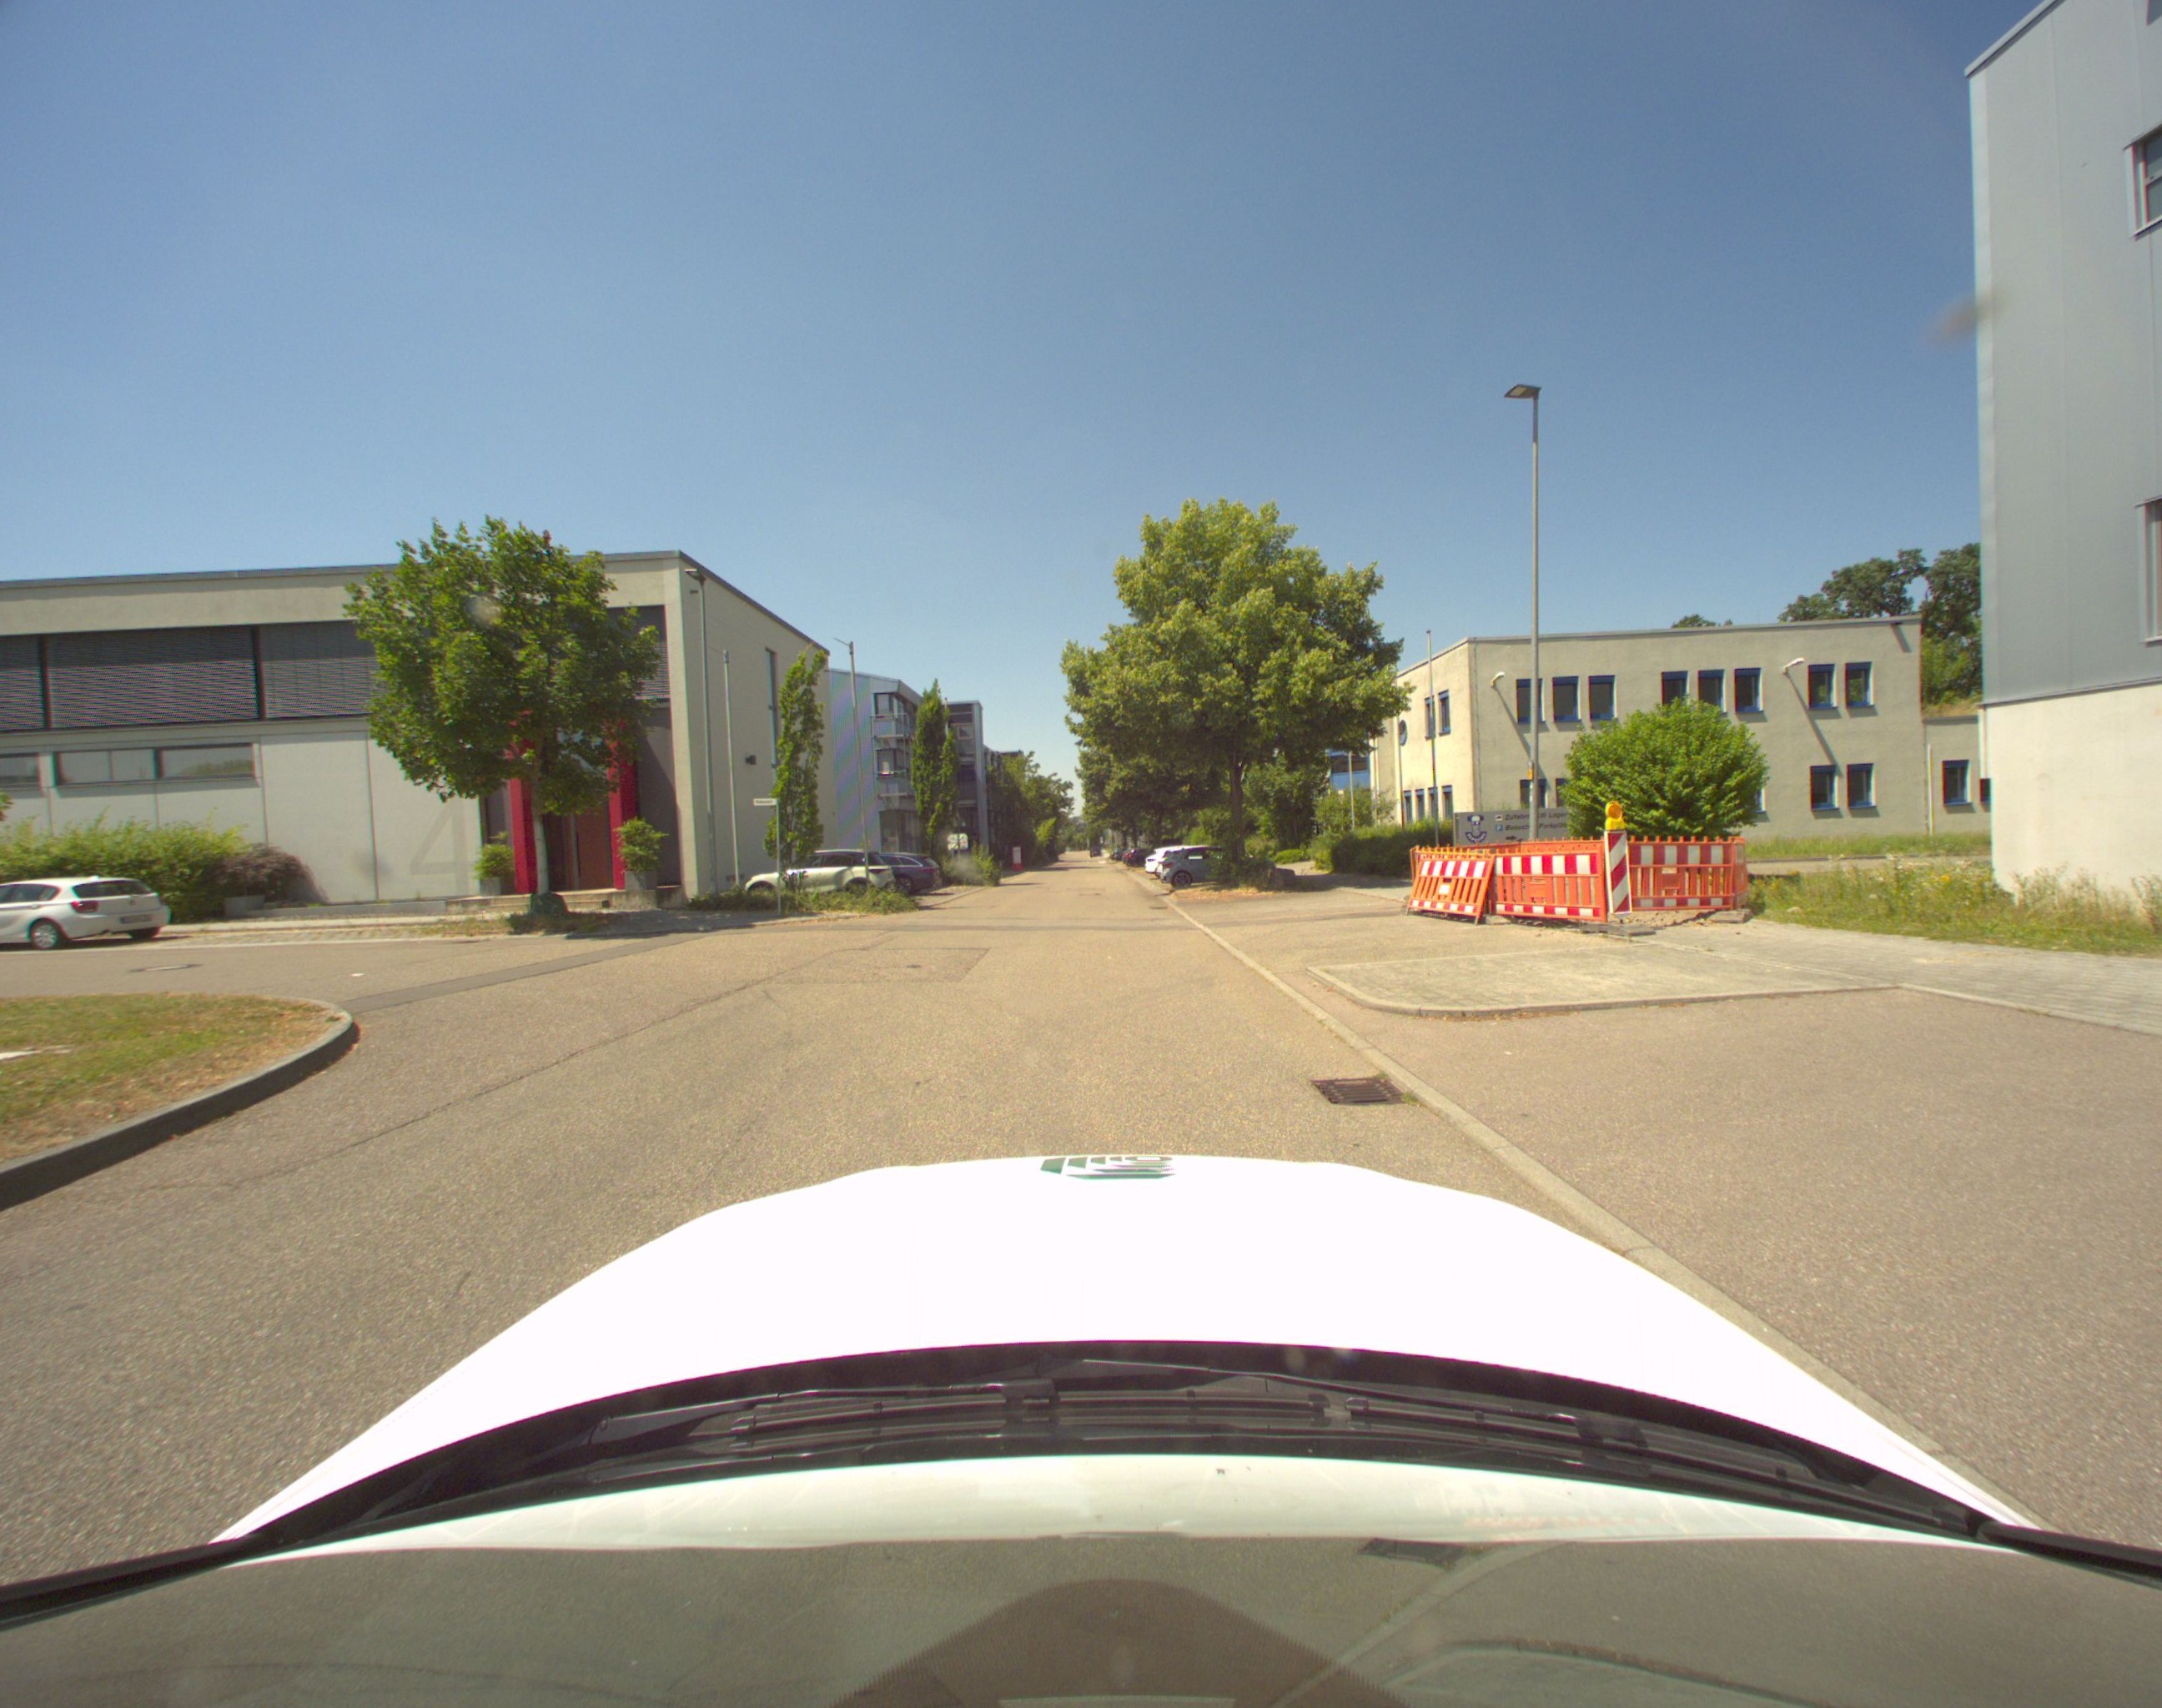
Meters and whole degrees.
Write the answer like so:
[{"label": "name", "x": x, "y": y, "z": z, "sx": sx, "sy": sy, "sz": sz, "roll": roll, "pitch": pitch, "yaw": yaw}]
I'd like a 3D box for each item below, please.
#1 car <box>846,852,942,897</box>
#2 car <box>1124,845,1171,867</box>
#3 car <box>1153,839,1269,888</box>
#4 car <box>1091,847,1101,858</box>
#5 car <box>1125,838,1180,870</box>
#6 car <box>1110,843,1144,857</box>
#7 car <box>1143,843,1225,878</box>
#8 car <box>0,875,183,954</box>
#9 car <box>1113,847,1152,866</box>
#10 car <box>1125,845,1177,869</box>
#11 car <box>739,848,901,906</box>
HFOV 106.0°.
[{"label": "car", "x": -6.434, "y": 0.689, "z": 28.175, "sx": 3.054, "sy": 1.478, "sz": 1.290, "roll": -1, "pitch": 0, "yaw": -6}, {"label": "car", "x": 5.351, "y": 0.165, "z": 65.924, "sx": 3.709, "sy": 1.626, "sz": 1.814, "roll": -2, "pitch": 0, "yaw": 0}, {"label": "car", "x": 4.490, "y": 0.321, "z": 28.515, "sx": 3.672, "sy": 1.354, "sz": 1.643, "roll": -5, "pitch": 0, "yaw": -4}, {"label": "car", "x": 2.575, "y": -0.239, "z": 139.427, "sx": 1.754, "sy": 1.755, "sz": 3.946, "roll": -2, "pitch": 0, "yaw": 2}, {"label": "car", "x": 4.994, "y": -0.013, "z": 57.133, "sx": 3.709, "sy": 2.110, "sz": 1.814, "roll": -2, "pitch": 0, "yaw": 0}, {"label": "car", "x": 5.599, "y": -0.526, "z": 100.193, "sx": 3.928, "sy": 1.577, "sz": 1.763, "roll": -2, "pitch": 3, "yaw": -7}, {"label": "car", "x": 4.783, "y": 0.300, "z": 38.212, "sx": 3.509, "sy": 1.354, "sz": 1.536, "roll": -5, "pitch": 0, "yaw": -4}, {"label": "car", "x": -22.034, "y": 1.274, "z": 17.300, "sx": 3.986, "sy": 1.408, "sz": 1.658, "roll": -1, "pitch": 3, "yaw": 1}, {"label": "car", "x": 5.587, "y": 0.215, "z": 88.007, "sx": 3.928, "sy": 1.834, "sz": 1.763, "roll": -2, "pitch": 3, "yaw": -7}, {"label": "car", "x": 5.160, "y": 0.233, "z": 60.215, "sx": 3.709, "sy": 1.626, "sz": 1.814, "roll": -2, "pitch": 0, "yaw": 0}, {"label": "car", "x": -7.412, "y": 0.630, "z": 23.405, "sx": 4.035, "sy": 1.495, "sz": 1.727, "roll": -2, "pitch": 0, "yaw": -2}]
